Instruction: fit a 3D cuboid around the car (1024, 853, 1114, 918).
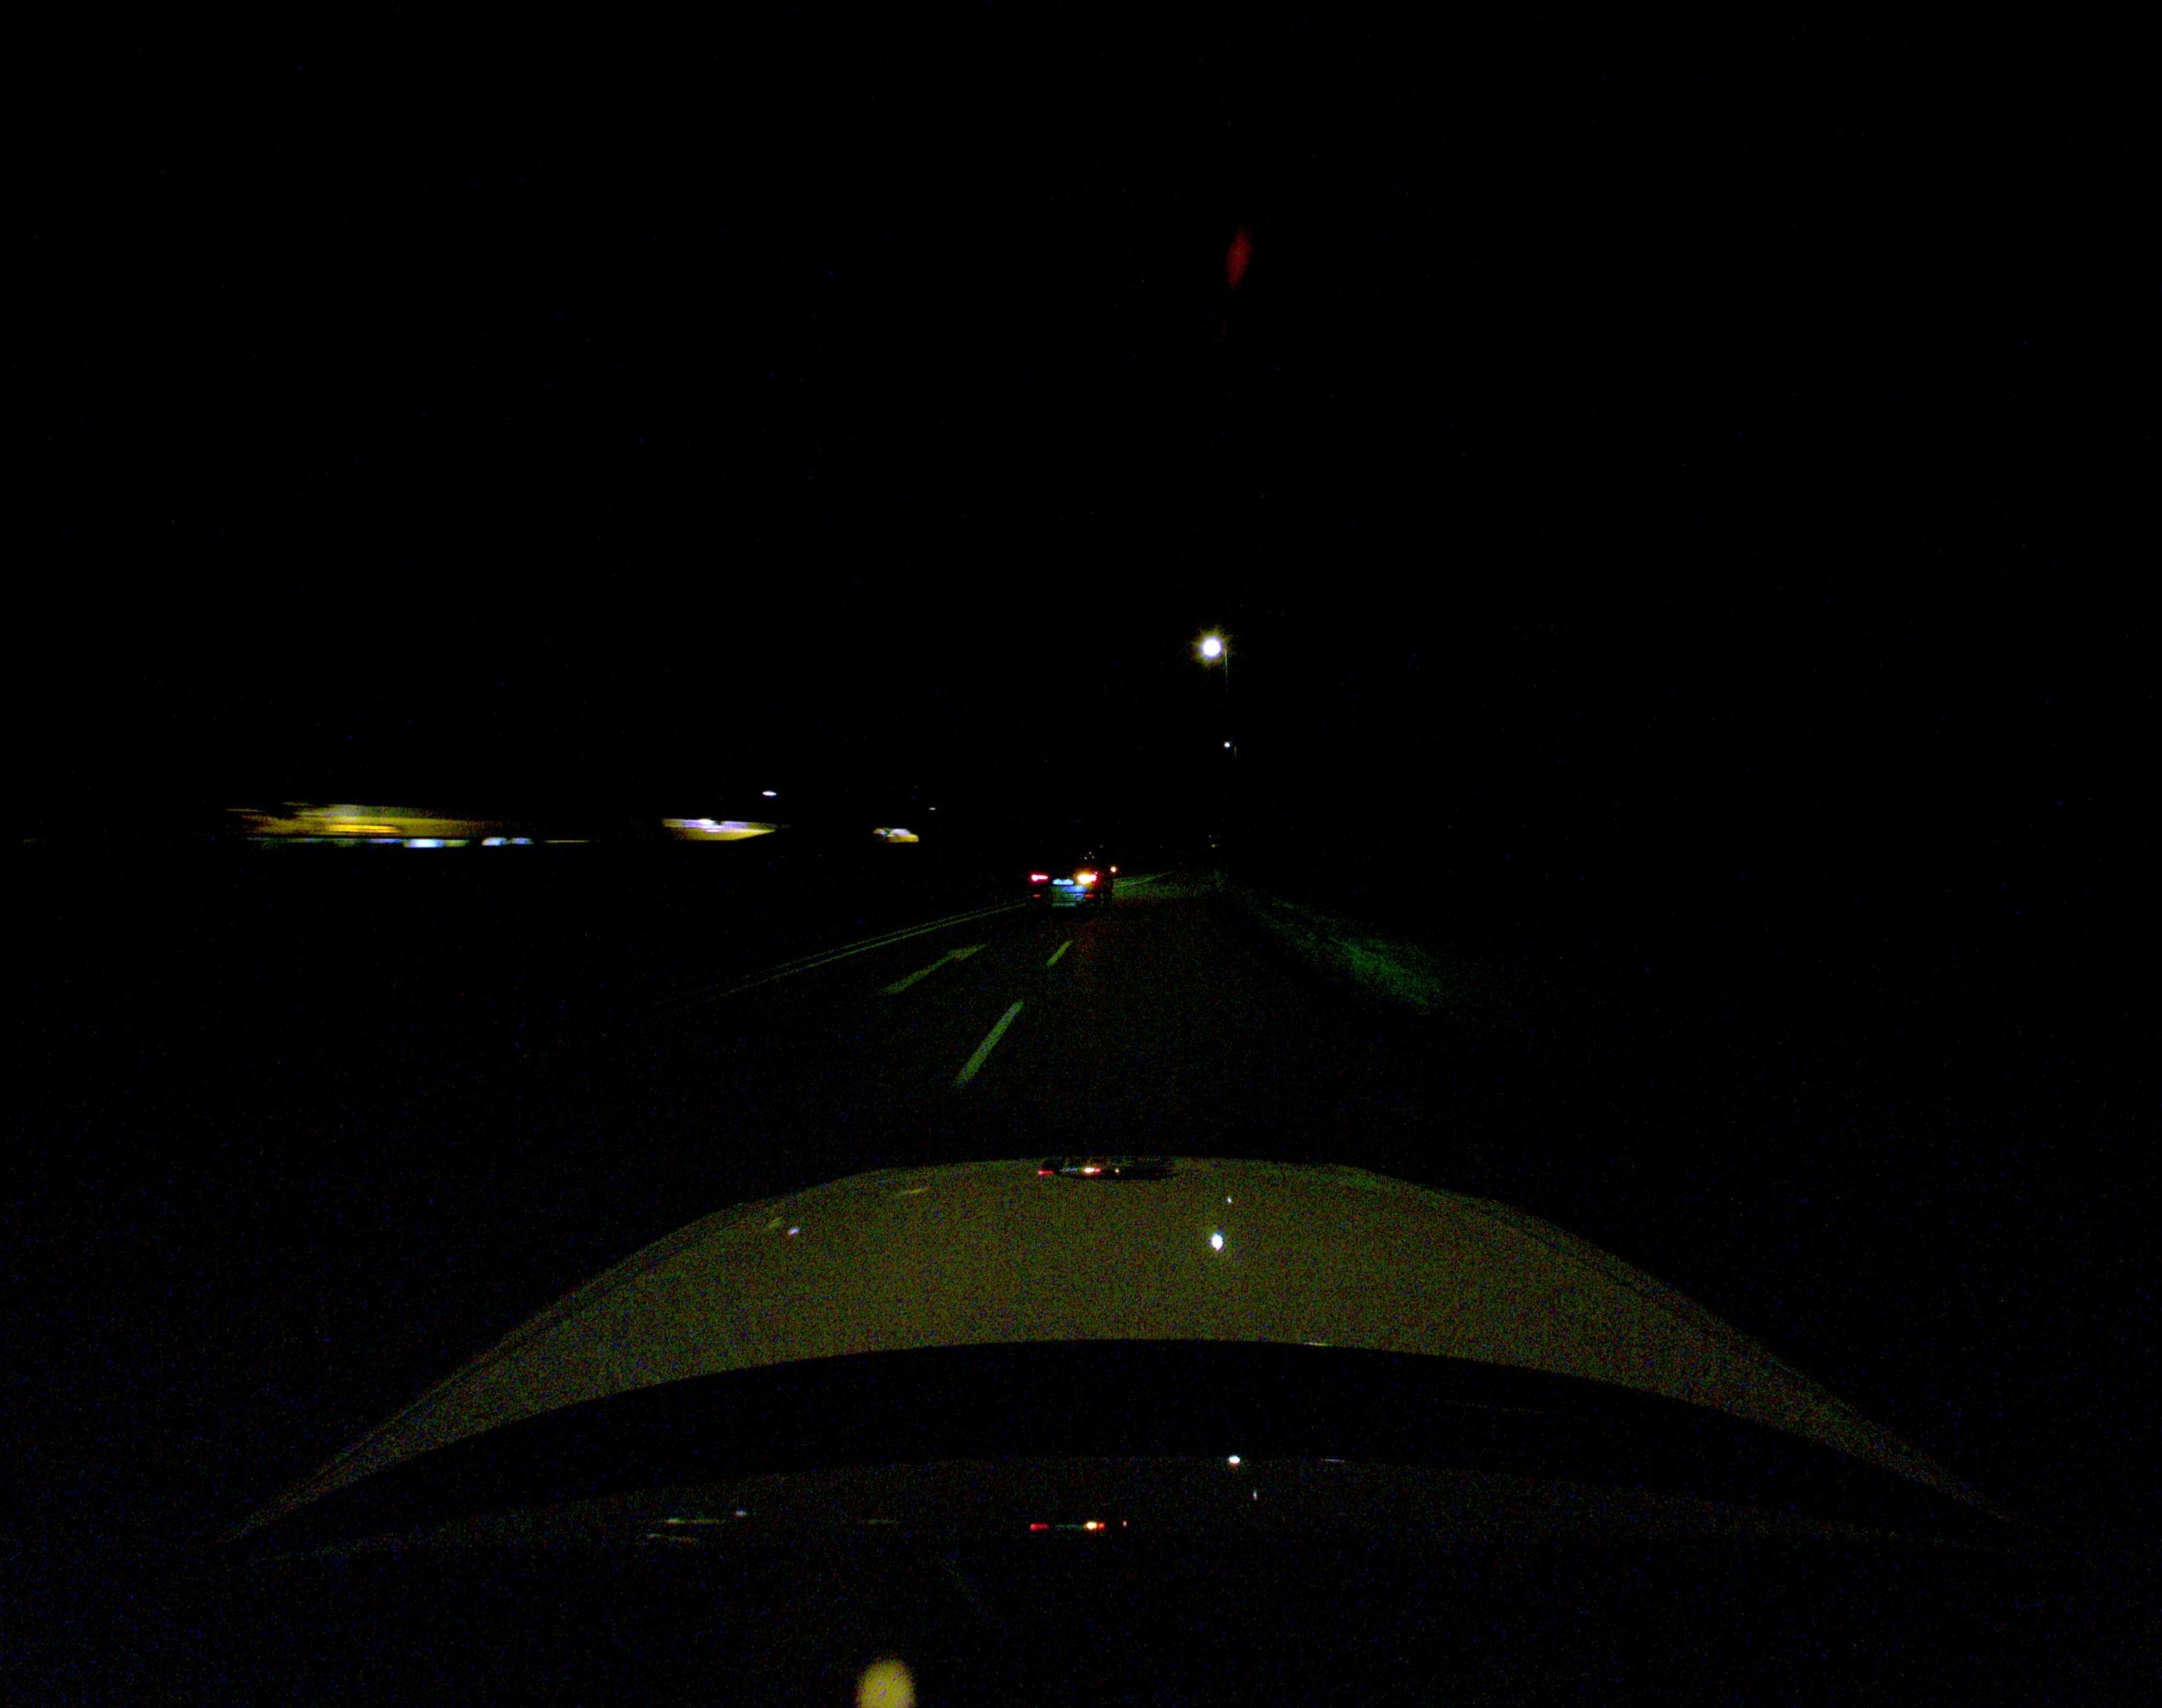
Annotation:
[{"bbox_3d":[-0.212,0.750,21.768,1.804,1.573,3.952,0,0,8],"label":"car"}]
